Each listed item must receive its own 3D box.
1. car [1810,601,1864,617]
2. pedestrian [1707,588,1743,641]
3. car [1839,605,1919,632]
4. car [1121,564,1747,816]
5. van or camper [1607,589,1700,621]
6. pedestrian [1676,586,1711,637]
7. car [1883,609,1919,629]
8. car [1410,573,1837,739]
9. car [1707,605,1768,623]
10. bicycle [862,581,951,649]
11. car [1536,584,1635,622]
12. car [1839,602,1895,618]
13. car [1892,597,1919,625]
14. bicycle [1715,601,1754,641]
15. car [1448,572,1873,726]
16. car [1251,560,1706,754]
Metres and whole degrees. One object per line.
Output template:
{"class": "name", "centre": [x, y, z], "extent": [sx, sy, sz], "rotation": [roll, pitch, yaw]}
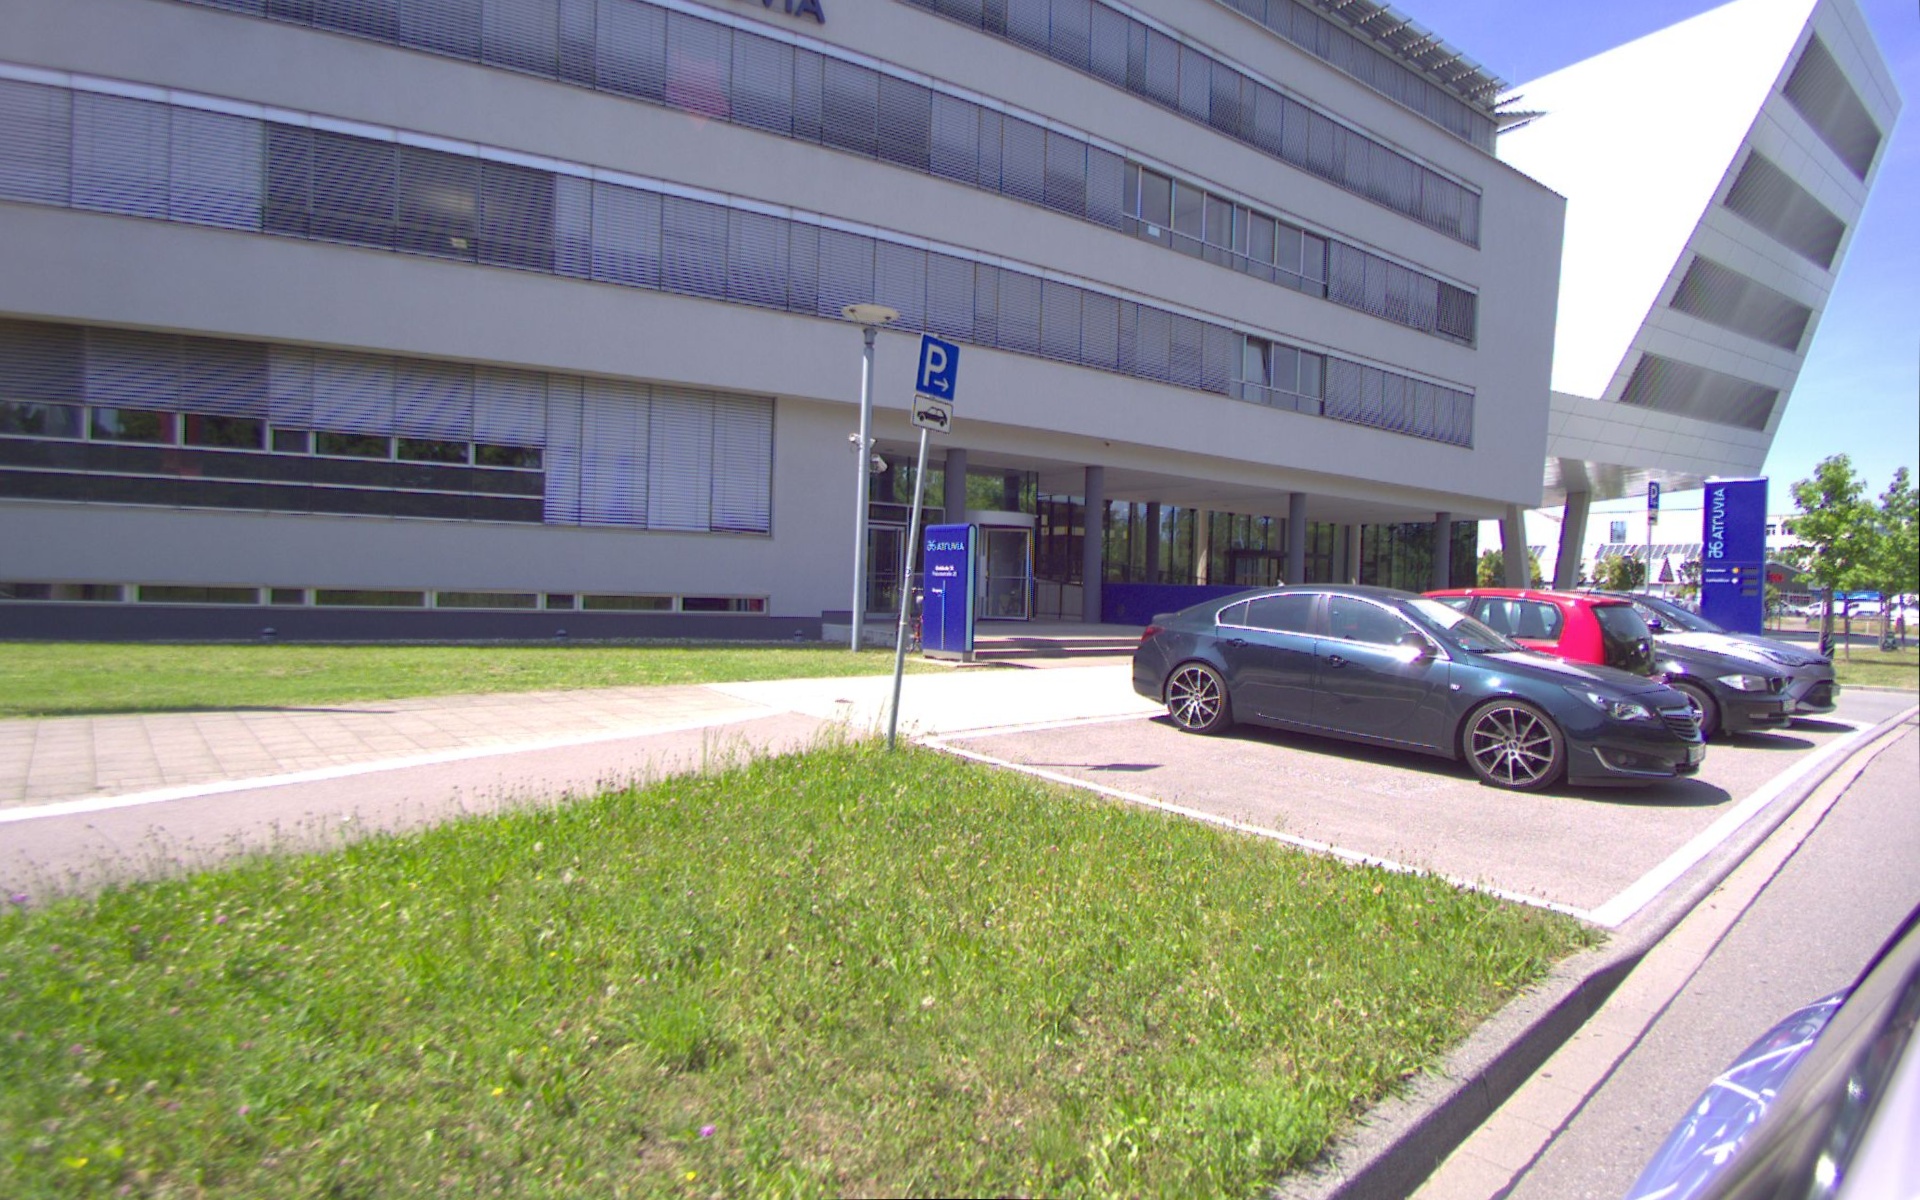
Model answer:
{"class": "car", "centre": [90.477, 0.921, 104.450], "extent": [1.670, 1.561, 3.922], "rotation": [1, 0, -34]}
{"class": "pedestrian", "centre": [25.599, 0.472, 33.862], "extent": [0.762, 1.722, 0.843], "rotation": [1, 0, -42]}
{"class": "car", "centre": [61.847, 1.202, 68.102], "extent": [1.709, 1.695, 3.823], "rotation": [1, 0, -38]}
{"class": "car", "centre": [3.795, 0.525, 8.842], "extent": [1.796, 1.449, 4.576], "rotation": [0, 3, -42]}
{"class": "van or camper", "centre": [53.334, 0.357, 77.990], "extent": [1.670, 2.420, 5.707], "rotation": [1, 0, -34]}
{"class": "pedestrian", "centre": [25.012, 0.385, 34.509], "extent": [0.762, 1.681, 0.843], "rotation": [1, 0, -42]}
{"class": "car", "centre": [69.817, 1.359, 73.444], "extent": [1.622, 1.410, 3.998], "rotation": [1, 0, -37]}
{"class": "car", "centre": [7.533, 0.509, 11.811], "extent": [1.625, 1.504, 3.818], "rotation": [1, 2, -38]}
{"class": "car", "centre": [65.201, 1.133, 84.876], "extent": [1.431, 1.387, 3.821], "rotation": [1, 0, -34]}
{"class": "bicycle", "centre": [-0.922, 0.233, 16.954], "extent": [0.524, 1.073, 1.883], "rotation": [1, 0, -36]}
{"class": "car", "centre": [43.364, 0.173, 70.304], "extent": [1.961, 2.491, 5.589], "rotation": [1, 0, -34]}
{"class": "car", "centre": [99.573, 1.045, 111.184], "extent": [1.670, 1.678, 4.327], "rotation": [1, 0, -34]}
{"class": "car", "centre": [75.867, 0.885, 77.323], "extent": [2.123, 2.177, 6.501], "rotation": [1, 0, -34]}
{"class": "bicycle", "centre": [25.617, 0.692, 33.457], "extent": [2.265, 1.270, 0.644], "rotation": [0, 0, -42]}
{"class": "car", "centre": [9.157, 0.508, 13.574], "extent": [1.754, 1.582, 4.332], "rotation": [1, 3, -39]}
{"class": "car", "centre": [5.406, 0.439, 10.999], "extent": [1.806, 1.675, 3.998], "rotation": [1, 2, -38]}
